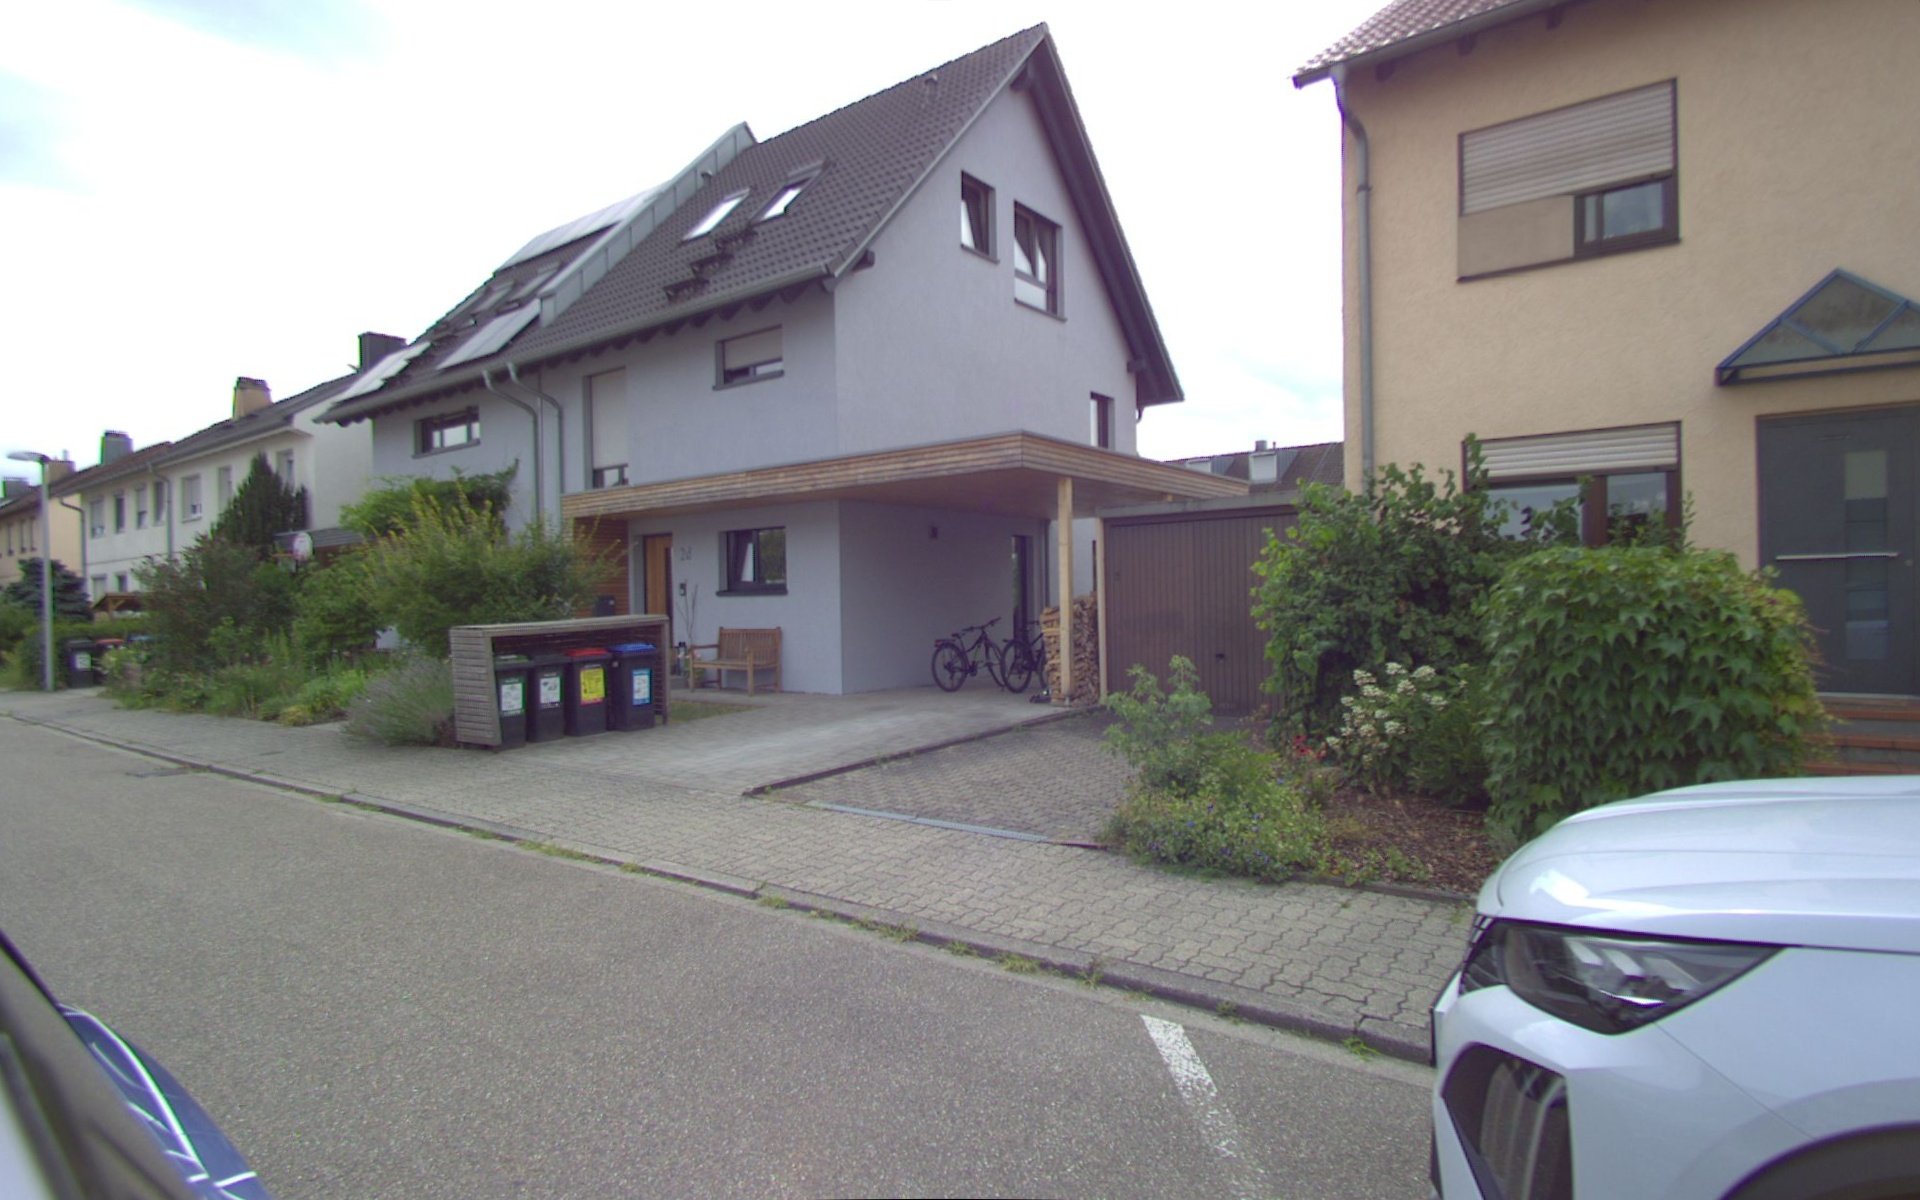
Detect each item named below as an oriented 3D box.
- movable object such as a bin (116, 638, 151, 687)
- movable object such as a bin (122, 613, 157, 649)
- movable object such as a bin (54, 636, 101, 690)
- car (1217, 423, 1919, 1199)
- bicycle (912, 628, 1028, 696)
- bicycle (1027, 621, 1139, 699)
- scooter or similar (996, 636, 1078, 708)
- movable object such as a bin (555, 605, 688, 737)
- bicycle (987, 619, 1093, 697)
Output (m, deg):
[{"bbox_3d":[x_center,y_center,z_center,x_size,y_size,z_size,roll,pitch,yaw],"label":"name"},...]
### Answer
[{"bbox_3d":[-16.937,1.276,20.735,0.466,0.963,0.462,-1,-1,38],"label":"movable object such as a bin"},{"bbox_3d":[-23.607,0.881,29.125,0.597,1.015,0.669,-2,-1,37],"label":"movable object such as a bin"},{"bbox_3d":[-17.523,1.247,20.100,0.664,1.035,0.596,-1,-1,38],"label":"movable object such as a bin"},{"bbox_3d":[2.861,0.542,1.096,4.627,1.568,1.916,-2,-1,38],"label":"car"},{"bbox_3d":[0.170,0.830,13.986,1.908,0.855,0.357,0,-2,-44],"label":"bicycle"},{"bbox_3d":[1.679,0.778,13.559,1.908,0.960,0.357,0,-2,-44],"label":"bicycle"},{"bbox_3d":[0.950,0.848,12.294,0.362,0.803,1.290,-1,-1,36],"label":"scooter or similar"},{"bbox_3d":[-3.732,0.752,11.192,0.999,1.322,0.941,-1,2,36],"label":"movable object such as a bin"},{"bbox_3d":[1.124,0.755,13.824,0.357,0.960,1.910,-2,-1,41],"label":"bicycle"}]
